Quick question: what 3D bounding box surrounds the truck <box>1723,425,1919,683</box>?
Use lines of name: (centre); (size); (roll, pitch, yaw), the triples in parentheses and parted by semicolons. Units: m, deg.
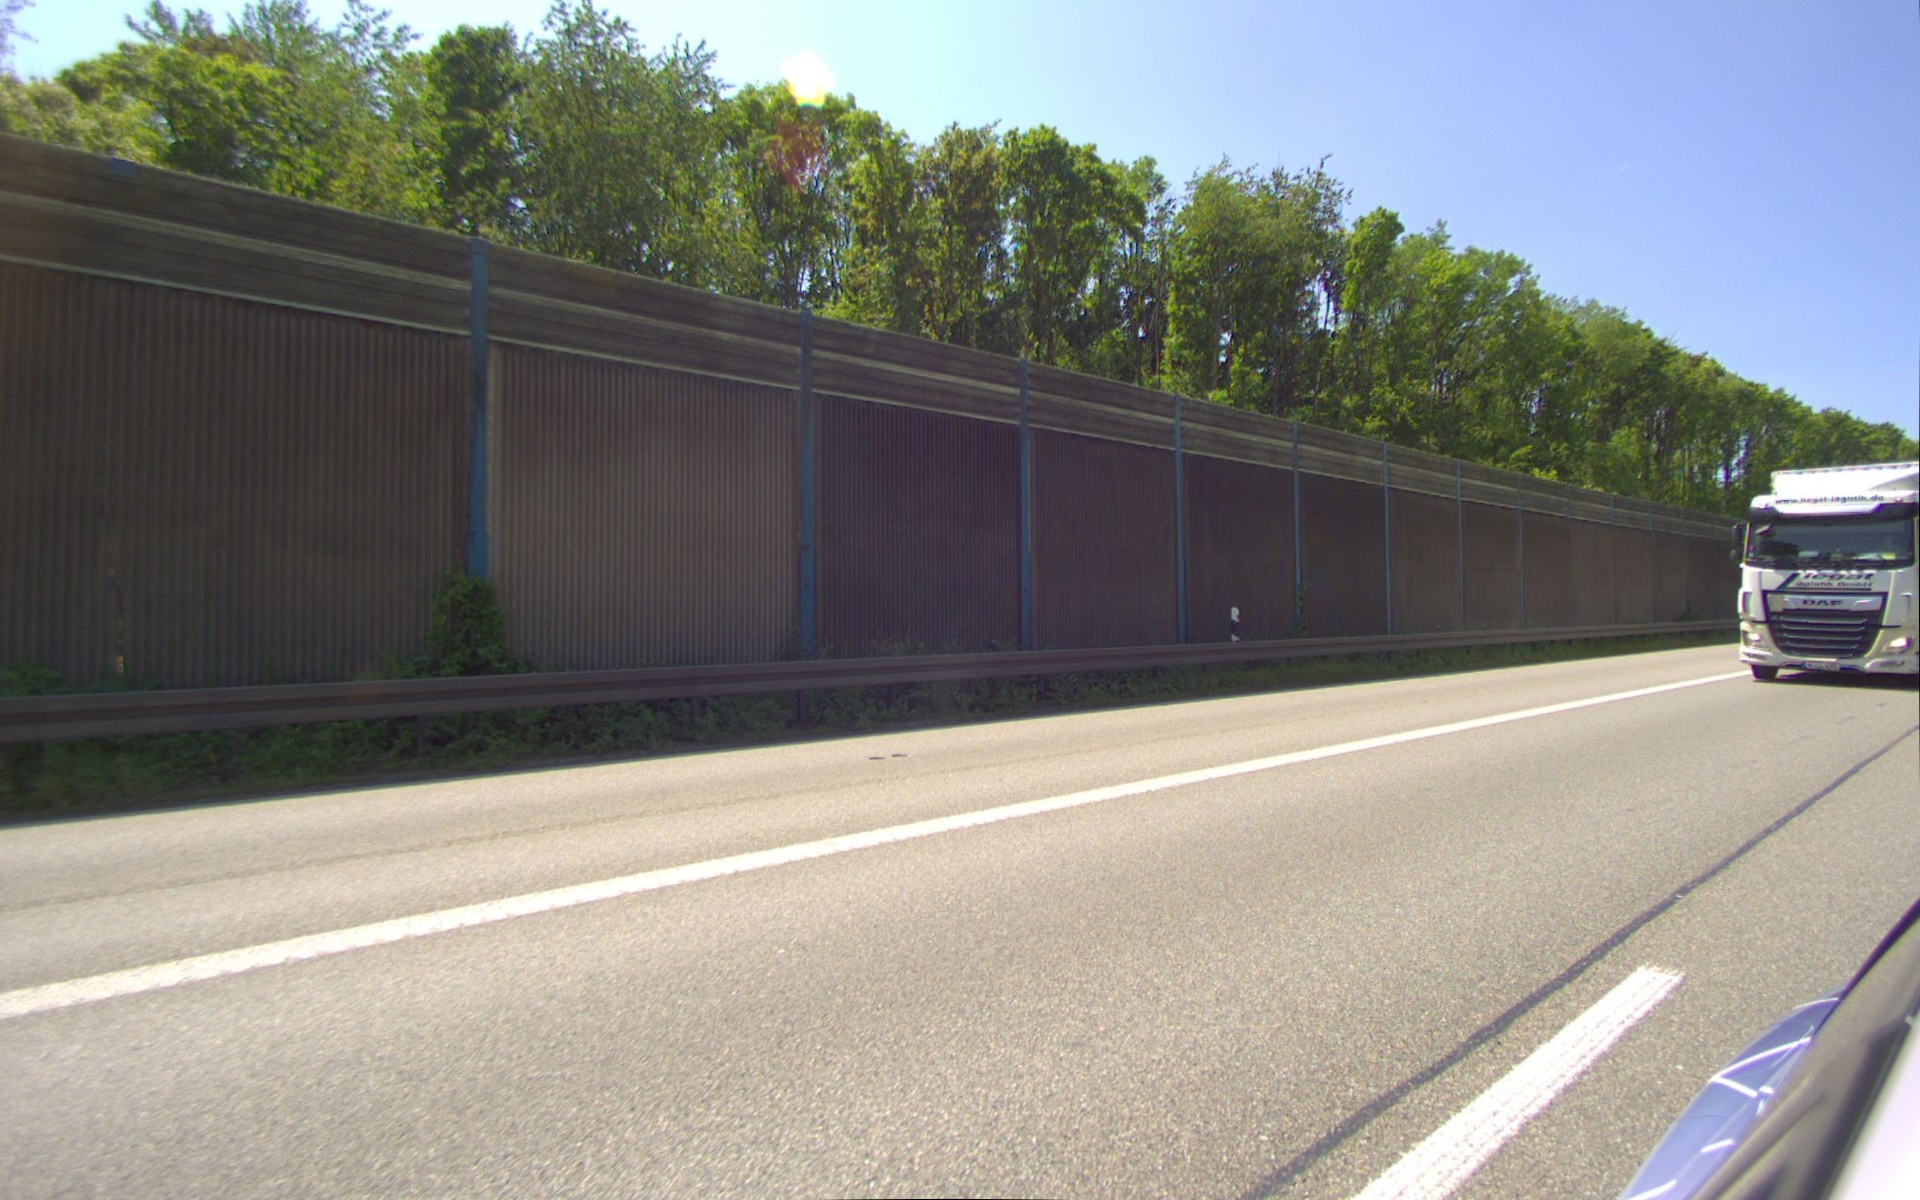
truck: (17.273, -0.757, 19.528); (5.763, 4.258, 2.792); (0, 0, -39)

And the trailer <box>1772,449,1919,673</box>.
trailer: (22.749, -0.731, 24.016); (13.004, 4.258, 2.792); (0, 0, -39)
